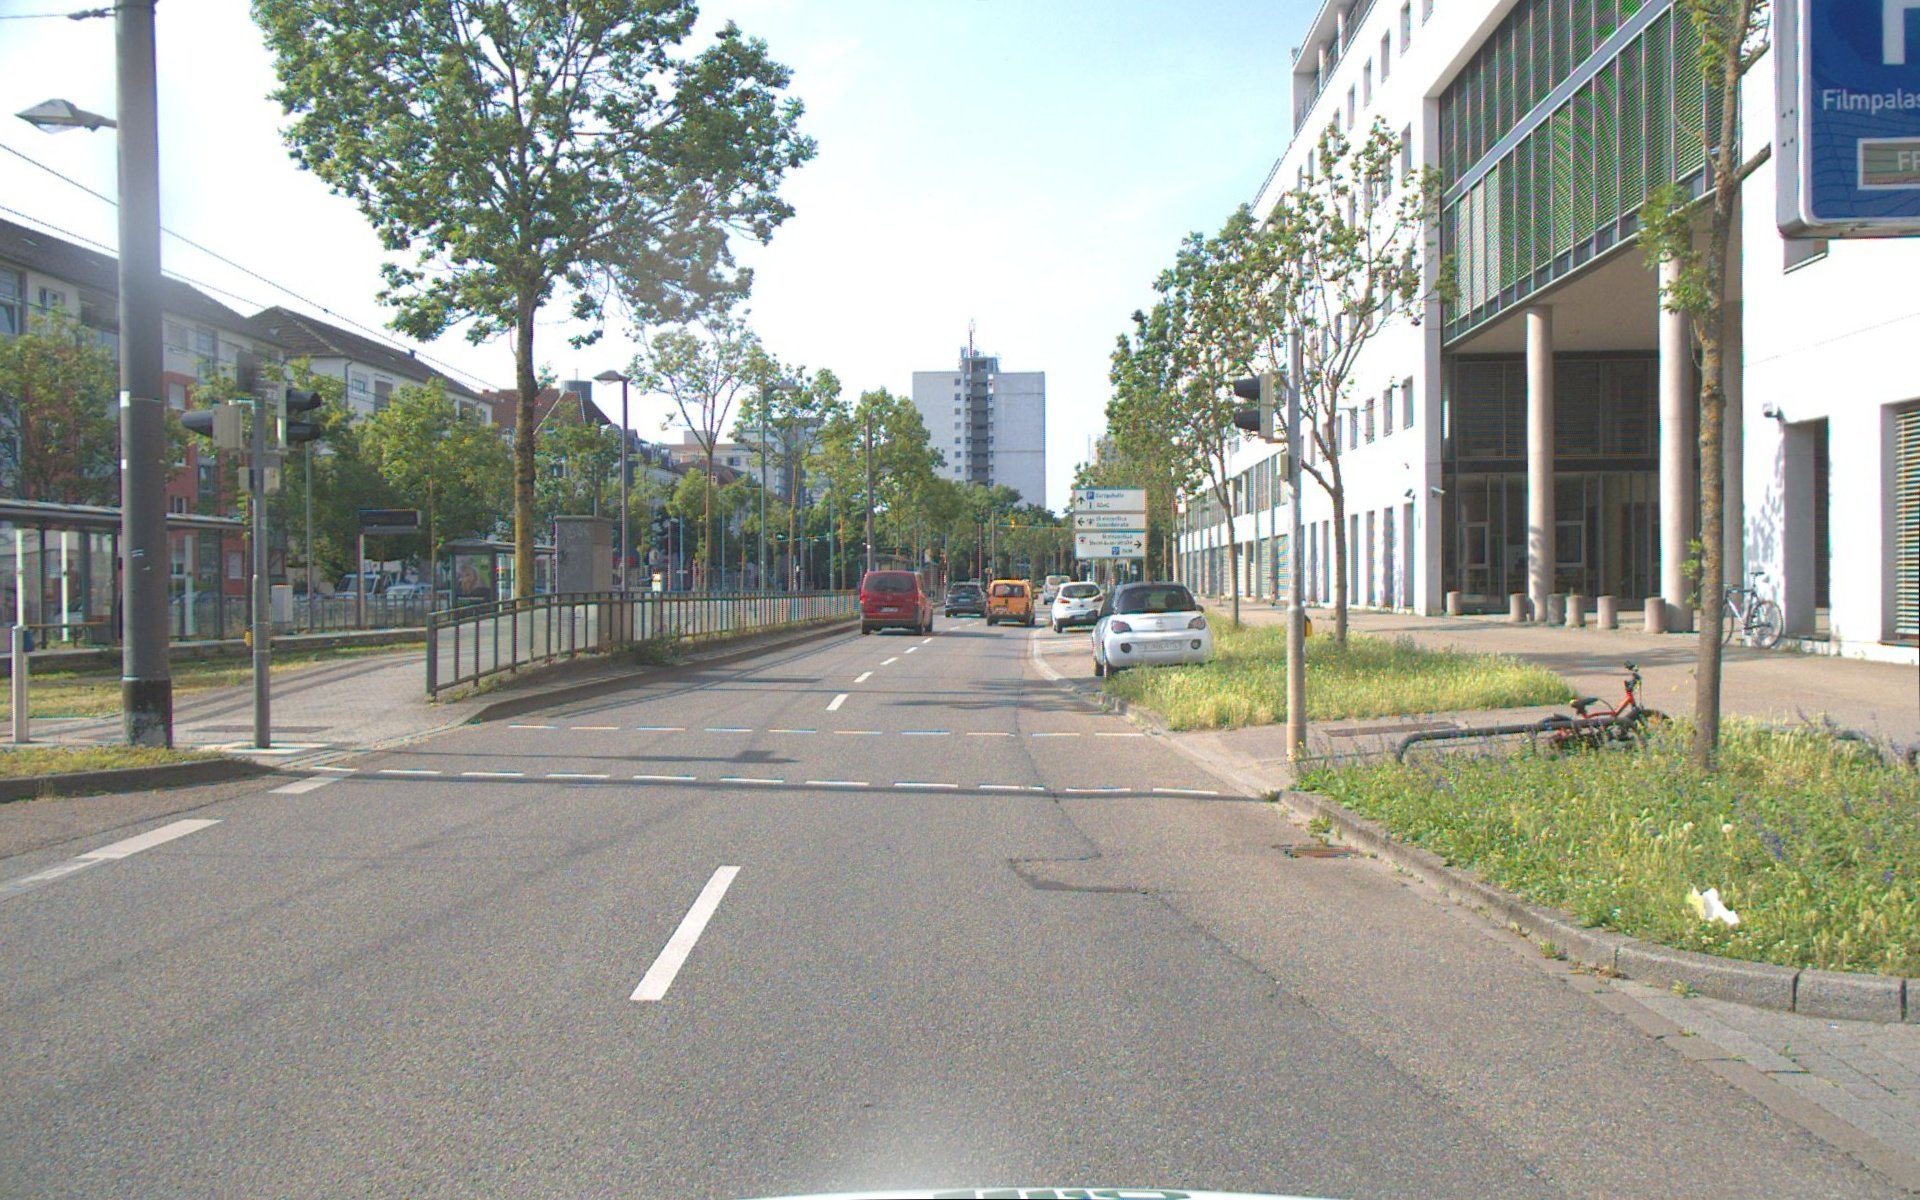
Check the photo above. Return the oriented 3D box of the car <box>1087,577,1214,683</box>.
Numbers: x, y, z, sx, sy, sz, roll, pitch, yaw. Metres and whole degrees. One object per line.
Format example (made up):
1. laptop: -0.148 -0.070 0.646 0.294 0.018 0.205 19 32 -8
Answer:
1. car: 2.974 0.422 26.452 1.684 1.545 3.782 0 1 2

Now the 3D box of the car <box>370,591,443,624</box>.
1. car: -26.873 0.333 80.464 1.939 1.540 4.282 1 0 2

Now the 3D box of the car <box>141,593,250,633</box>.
1. car: -27.807 0.448 60.291 1.939 1.384 4.070 1 0 2

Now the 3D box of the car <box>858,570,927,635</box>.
1. car: -2.018 0.049 50.384 1.835 1.886 4.001 0 0 1

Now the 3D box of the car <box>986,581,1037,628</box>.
1. car: 1.997 0.138 63.370 1.836 1.726 3.975 0 1 3

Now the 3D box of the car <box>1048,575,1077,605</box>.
1. car: 7.176 -0.715 116.169 1.952 2.049 4.001 -1 0 3

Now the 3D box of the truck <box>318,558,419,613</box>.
1. truck: -30.170 -0.727 84.676 2.317 2.607 7.243 1 0 2

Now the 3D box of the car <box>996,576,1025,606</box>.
1. car: 3.541 -0.649 115.456 1.952 2.049 4.001 -1 0 1

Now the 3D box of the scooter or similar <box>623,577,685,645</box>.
1. scooter or similar: -5.771 0.201 31.220 0.418 1.260 1.259 -1 0 30

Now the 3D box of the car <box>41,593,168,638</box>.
1. car: -28.287 0.473 54.835 1.939 1.384 4.070 1 0 2

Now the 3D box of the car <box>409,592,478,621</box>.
1. car: -26.729 0.300 85.791 1.939 1.403 4.685 1 0 2

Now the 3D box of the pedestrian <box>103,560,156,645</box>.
1. pedestrian: -16.539 0.047 32.936 0.658 1.682 0.794 -1 0 -2

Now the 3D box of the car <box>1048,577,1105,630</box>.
1. car: 3.666 0.095 52.597 1.654 1.552 3.852 -2 0 3

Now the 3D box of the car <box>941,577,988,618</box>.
1. car: 0.225 -0.122 74.405 1.952 1.735 4.001 -1 0 2

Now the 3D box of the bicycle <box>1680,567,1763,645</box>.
1. bicycle: 11.373 0.079 24.738 0.483 1.105 1.550 -2 0 0

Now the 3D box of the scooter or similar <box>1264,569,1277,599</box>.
1. scooter or similar: 12.855 -0.669 68.481 0.452 1.234 1.256 -2 1 8

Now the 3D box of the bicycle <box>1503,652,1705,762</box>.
1. bicycle: 4.707 0.779 12.151 1.244 0.643 0.521 -7 -1 10

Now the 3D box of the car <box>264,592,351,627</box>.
1. car: -27.462 0.392 69.769 1.939 1.384 4.070 1 0 2
